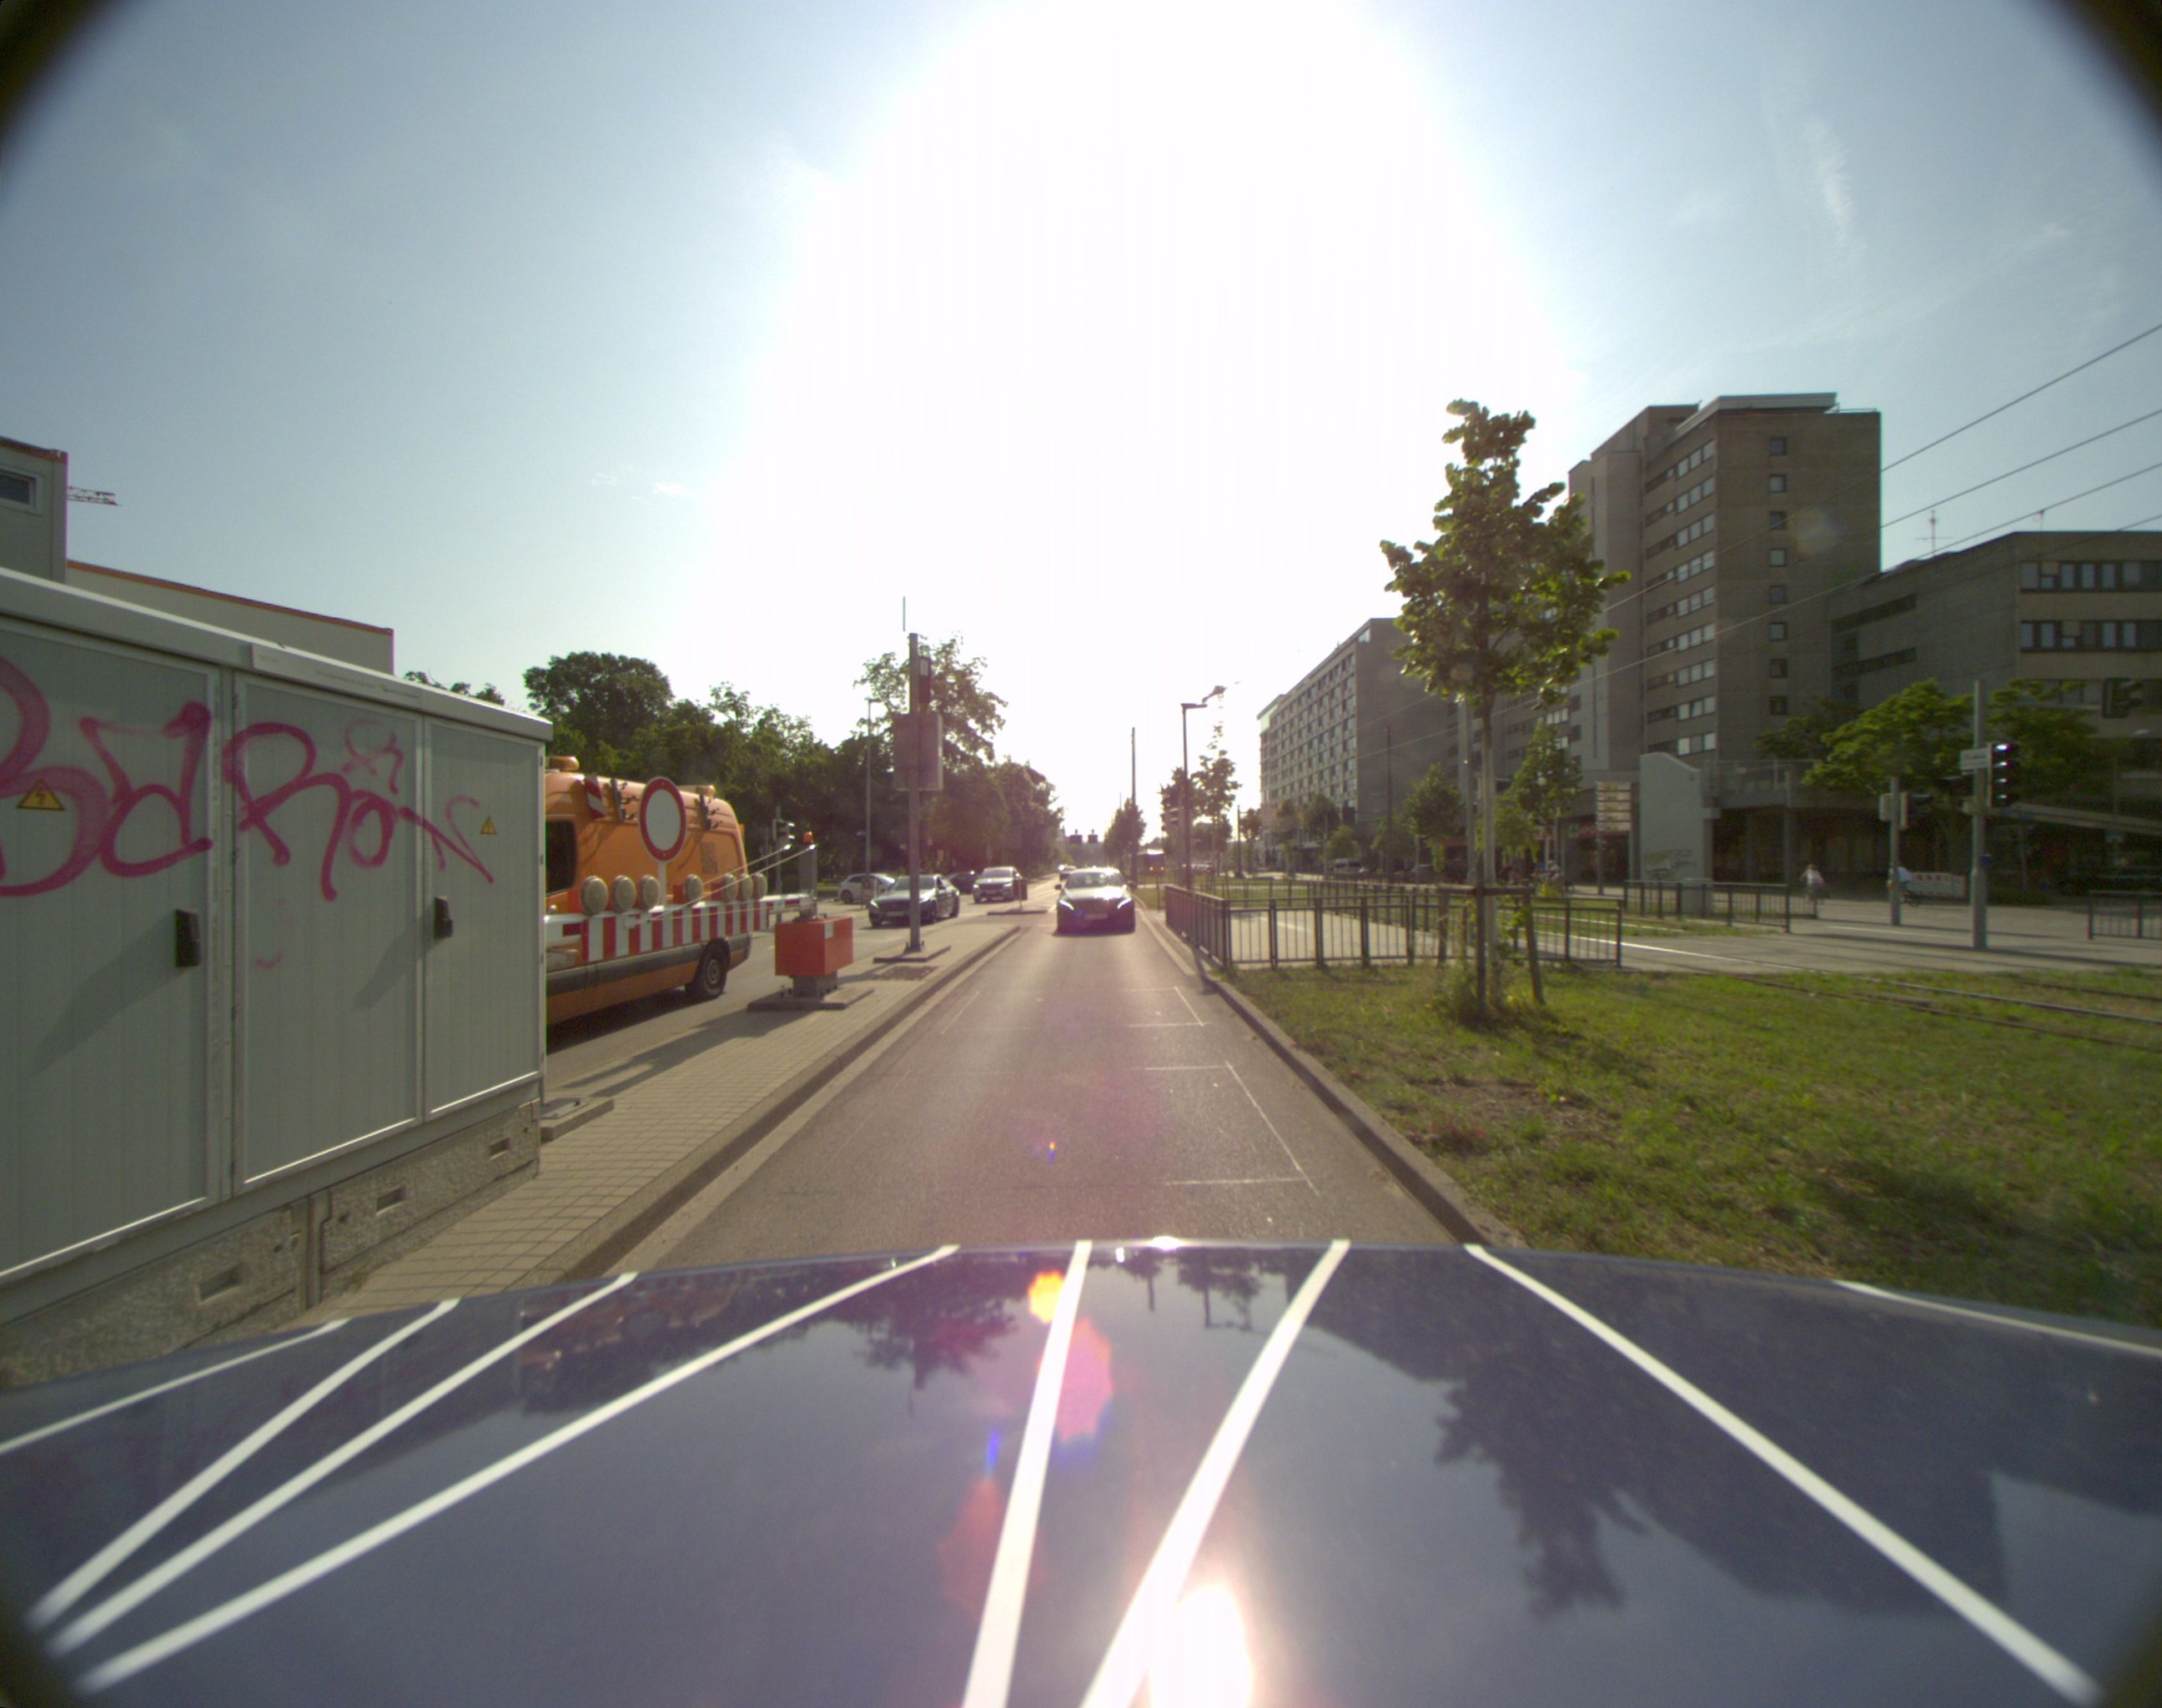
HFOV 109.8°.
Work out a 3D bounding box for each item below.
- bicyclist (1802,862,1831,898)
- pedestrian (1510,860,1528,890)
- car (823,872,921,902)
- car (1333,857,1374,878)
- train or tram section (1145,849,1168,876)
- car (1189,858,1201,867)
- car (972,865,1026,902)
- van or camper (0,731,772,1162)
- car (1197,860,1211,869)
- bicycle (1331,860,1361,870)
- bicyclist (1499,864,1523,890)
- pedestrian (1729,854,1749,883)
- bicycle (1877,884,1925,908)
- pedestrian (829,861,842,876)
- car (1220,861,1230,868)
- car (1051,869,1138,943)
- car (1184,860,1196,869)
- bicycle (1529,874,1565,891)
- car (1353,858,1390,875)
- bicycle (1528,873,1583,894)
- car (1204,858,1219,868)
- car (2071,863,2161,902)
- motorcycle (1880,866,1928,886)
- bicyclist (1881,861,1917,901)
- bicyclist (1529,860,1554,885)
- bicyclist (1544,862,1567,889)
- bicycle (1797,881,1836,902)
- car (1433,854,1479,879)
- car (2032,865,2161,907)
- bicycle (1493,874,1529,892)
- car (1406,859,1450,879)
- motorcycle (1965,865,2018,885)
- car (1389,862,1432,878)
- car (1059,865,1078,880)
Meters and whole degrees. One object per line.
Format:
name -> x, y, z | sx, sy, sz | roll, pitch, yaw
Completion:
bicyclist -> 31.321, 1.092, 32.365 | 0.619, 1.491, 0.988 | -1, 0, 27
pedestrian -> 24.849, 1.178, 43.108 | 0.660, 1.680, 0.646 | -1, 0, 4
car -> -10.315, 1.615, 37.560 | 4.273, 1.397, 2.003 | -1, 0, 19
car -> 31.166, 1.496, 86.854 | 5.419, 2.295, 1.880 | 0, 0, -39
train or tram section -> 9.737, 1.099, 98.398 | 2.500, 3.409, 6.670 | 0, 0, 2
car -> 19.980, 1.473, 133.539 | 1.811, 1.564, 4.001 | -1, 0, 3
car -> -3.821, 1.364, 36.069 | 1.897, 1.561, 4.251 | -2, 0, 2
van or camper -> -5.443, 0.587, 7.482 | 1.990, 2.457, 6.063 | -2, -1, 3
car -> 19.709, 1.654, 121.678 | 1.745, 1.478, 3.642 | -1, 0, 3
bicycle -> 38.751, 1.636, 111.048 | 3.994, 1.358, 1.127 | -1, 0, 10
bicyclist -> 23.437, 1.243, 41.382 | 0.972, 1.387, 0.547 | 2, -1, 12
pedestrian -> 40.824, 0.878, 47.123 | 0.699, 1.766, 0.625 | 0, 0, -12
bicycle -> 30.612, 1.557, 28.387 | 0.719, 0.793, 1.606 | -3, 0, 29
pedestrian -> -30.686, 1.850, 94.951 | 0.983, 1.820, 1.072 | -1, 0, 31
car -> 34.870, 2.511, 183.835 | 1.847, 1.658, 4.000 | -3, 0, 3
car -> 0.348, 1.129, 18.102 | 1.759, 1.437, 4.618 | -2, 0, 2
car -> 19.930, 1.909, 139.162 | 1.811, 1.466, 4.001 | -1, 0, 3
bicycle -> 27.231, 1.662, 44.396 | 1.666, 0.985, 0.685 | -1, 0, -2
car -> 30.631, 1.329, 80.142 | 2.097, 1.573, 4.008 | -4, -1, 45
bicycle -> 24.518, 1.498, 39.310 | 2.340, 0.993, 0.709 | 1, 1, 25
car -> 19.509, 1.356, 113.965 | 1.811, 1.472, 4.001 | -1, 0, 3
car -> 48.964, 1.281, 34.617 | 1.914, 1.618, 4.380 | -3, 0, -2
motorcycle -> 43.946, 1.148, 40.593 | 0.494, 1.011, 1.946 | -1, 0, 1
bicyclist -> 30.623, 1.022, 28.456 | 0.686, 1.432, 0.807 | -2, 1, 29
bicyclist -> 26.914, 1.055, 44.420 | 1.024, 1.432, 0.685 | -1, 0, -2
bicyclist -> 24.550, 1.103, 39.285 | 0.911, 1.377, 0.705 | -1, -2, 25
bicycle -> 31.336, 1.580, 32.388 | 0.627, 0.789, 2.006 | -1, 0, 27
car -> 31.307, 1.021, 63.352 | 4.119, 1.957, 1.874 | 0, 0, -38
car -> 46.551, 1.399, 34.183 | 1.914, 1.618, 4.380 | -3, 0, -2
bicycle -> 23.412, 1.589, 41.377 | 1.610, 0.929, 0.558 | 2, -1, 12
car -> 30.547, 1.295, 66.823 | 4.119, 1.597, 1.874 | 0, 0, -38
motorcycle -> 48.150, 1.118, 40.196 | 0.494, 1.011, 1.946 | -1, 0, 1
car -> 30.585, 1.502, 70.404 | 4.119, 1.237, 1.875 | -2, 0, -38
car -> -1.328, 1.993, 83.216 | 1.904, 1.584, 4.001 | -1, 0, 1
